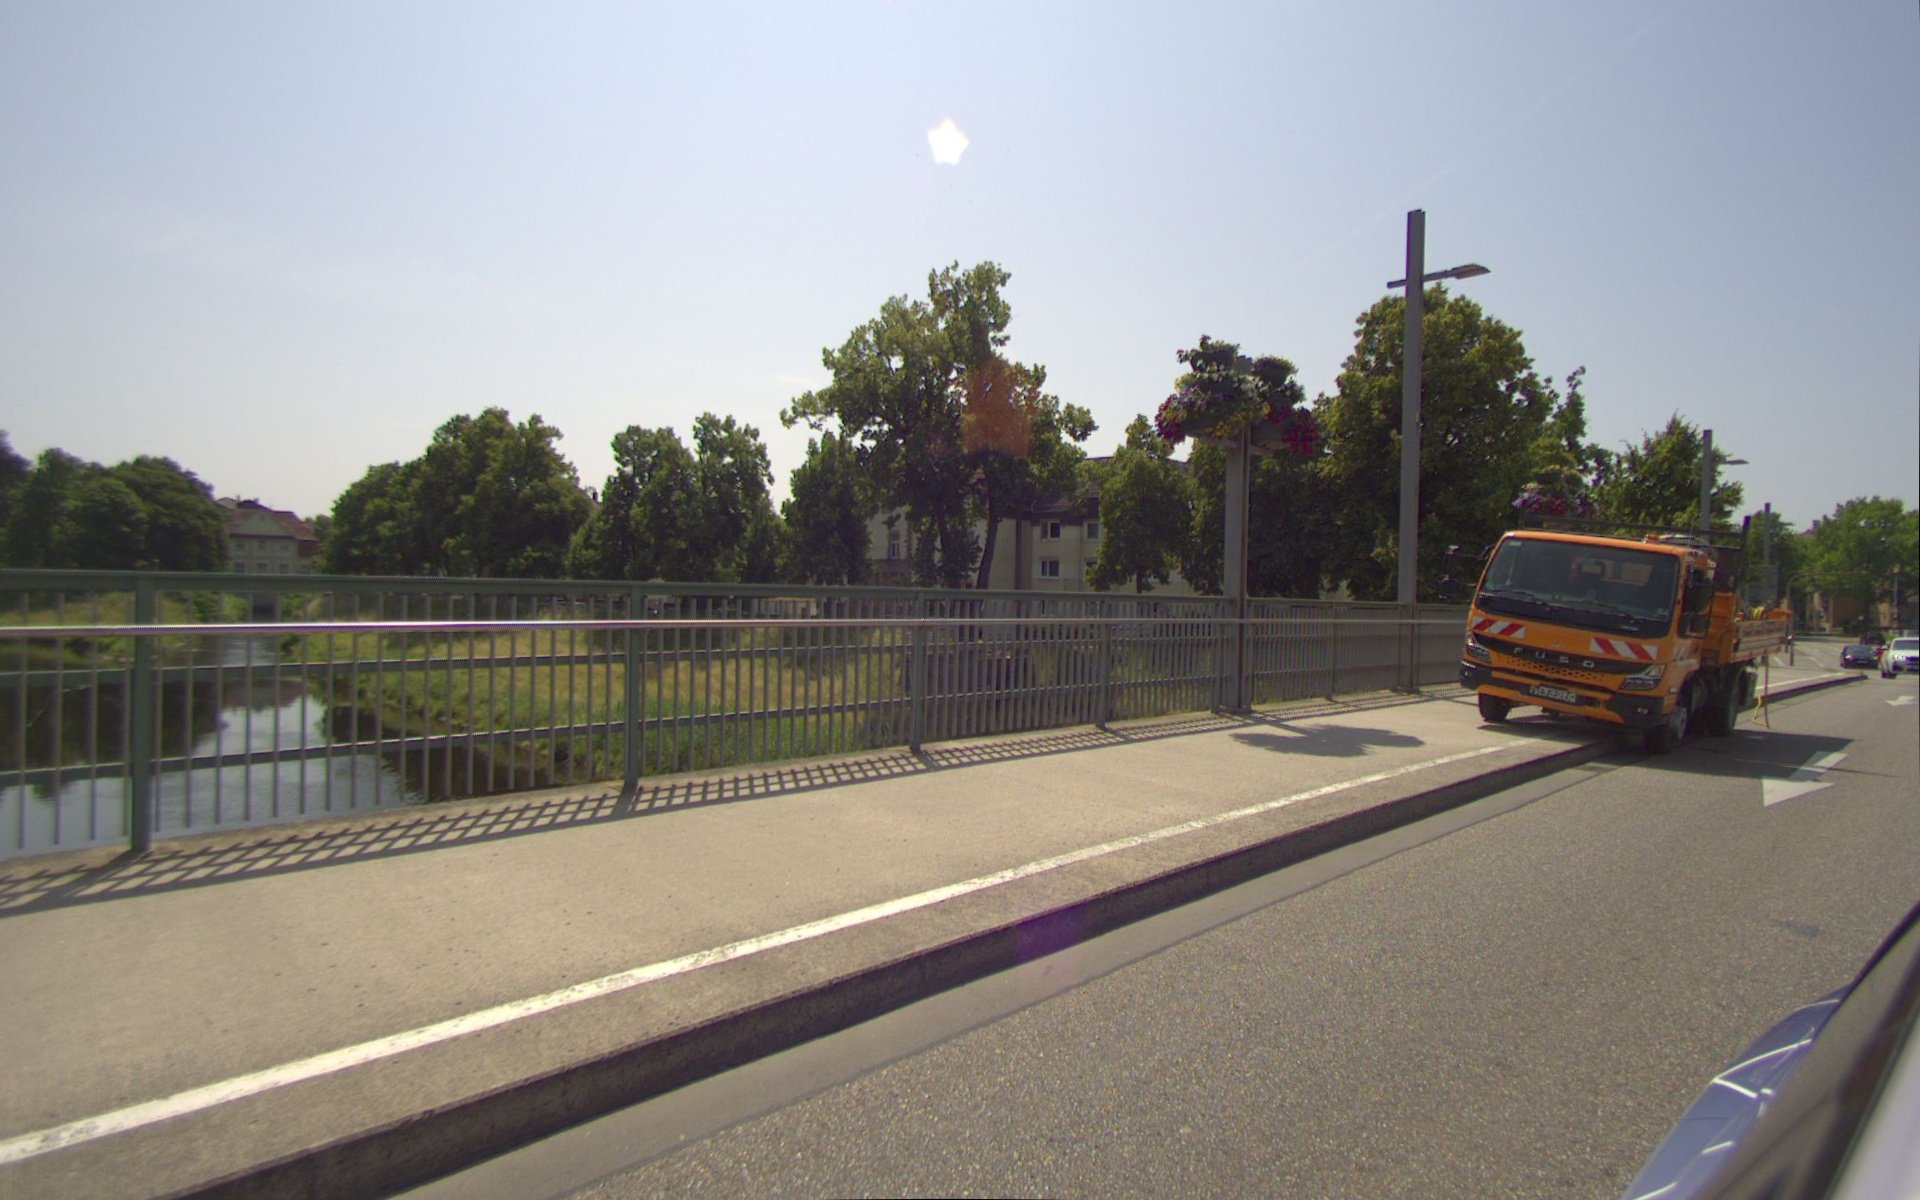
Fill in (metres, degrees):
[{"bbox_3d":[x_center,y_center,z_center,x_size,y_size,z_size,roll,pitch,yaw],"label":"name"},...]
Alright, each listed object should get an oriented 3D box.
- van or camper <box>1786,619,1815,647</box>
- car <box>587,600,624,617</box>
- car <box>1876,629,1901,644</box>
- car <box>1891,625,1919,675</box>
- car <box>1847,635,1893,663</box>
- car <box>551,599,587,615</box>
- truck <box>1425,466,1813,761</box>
[{"bbox_3d":[88.514,3.419,106.627,2.154,2.614,5.767,1,1,38],"label":"van or camper"},{"bbox_3d":[-35.624,0.873,101.599,3.984,1.572,1.800,-1,-3,42],"label":"car"},{"bbox_3d":[99.150,3.875,108.112,1.711,1.504,3.975,-1,0,39],"label":"car"},{"bbox_3d":[37.348,1.895,38.918,1.990,1.772,4.382,0,0,39],"label":"car"},{"bbox_3d":[57.646,3.066,64.147,1.767,1.507,3.948,0,1,36],"label":"car"},{"bbox_3d":[-40.965,0.760,106.022,4.115,1.572,1.800,-1,-2,42],"label":"car"},{"bbox_3d":[8.190,0.110,12.285,5.725,2.724,2.609,1,1,-44],"label":"truck"}]
